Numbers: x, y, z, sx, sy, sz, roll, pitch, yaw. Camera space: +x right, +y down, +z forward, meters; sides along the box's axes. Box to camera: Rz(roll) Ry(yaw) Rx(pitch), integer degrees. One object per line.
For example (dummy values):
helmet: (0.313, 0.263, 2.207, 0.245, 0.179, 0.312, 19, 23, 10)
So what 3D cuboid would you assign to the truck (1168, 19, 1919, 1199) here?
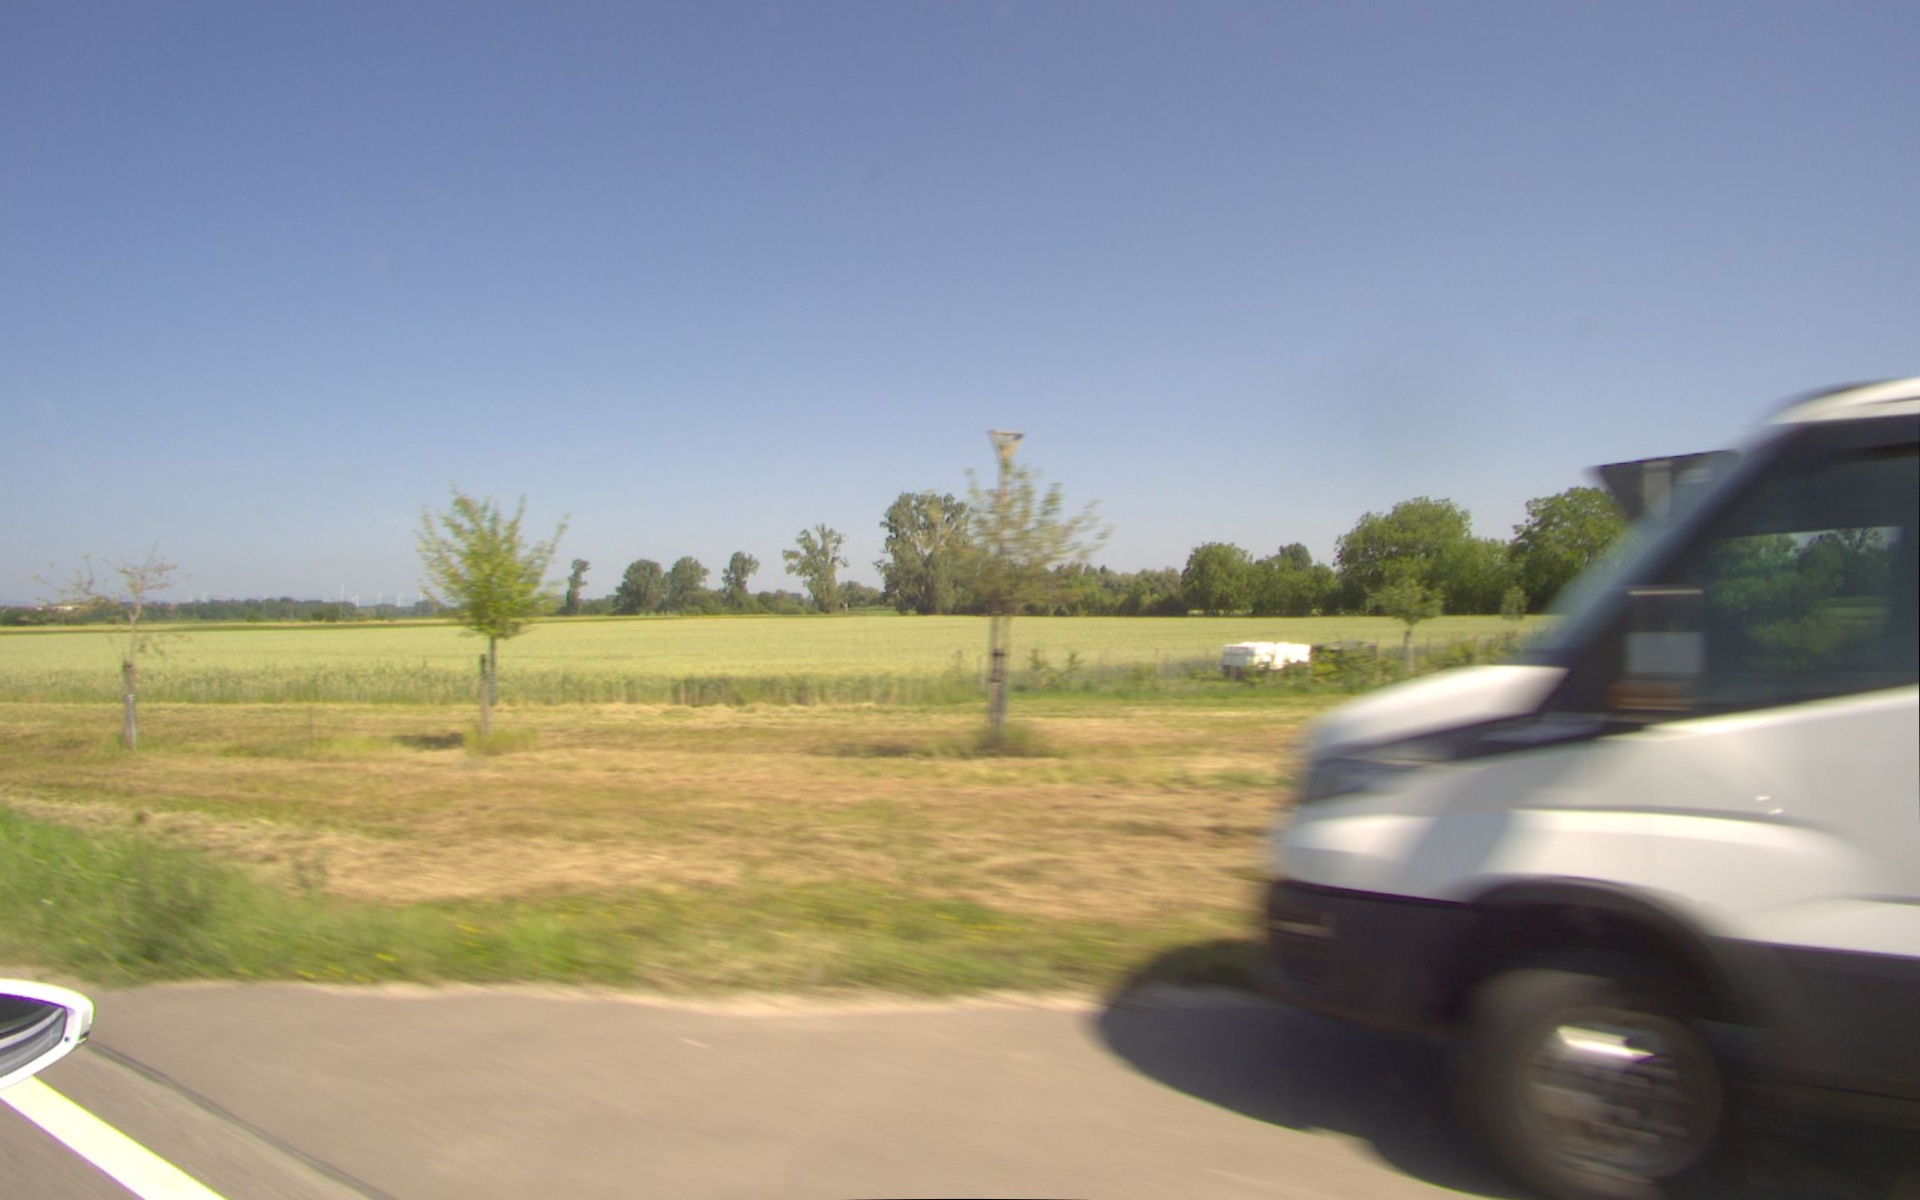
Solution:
truck: (4.224, 0.175, 2.480, 6.903, 2.978, 2.335, -1, -3, 29)

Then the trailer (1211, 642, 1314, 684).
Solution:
trailer: (9.408, 1.922, 31.005, 1.646, 1.204, 3.566, -2, -3, 43)

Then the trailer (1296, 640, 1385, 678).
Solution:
trailer: (13.124, 1.994, 34.462, 1.646, 1.204, 3.519, -2, -2, 43)
